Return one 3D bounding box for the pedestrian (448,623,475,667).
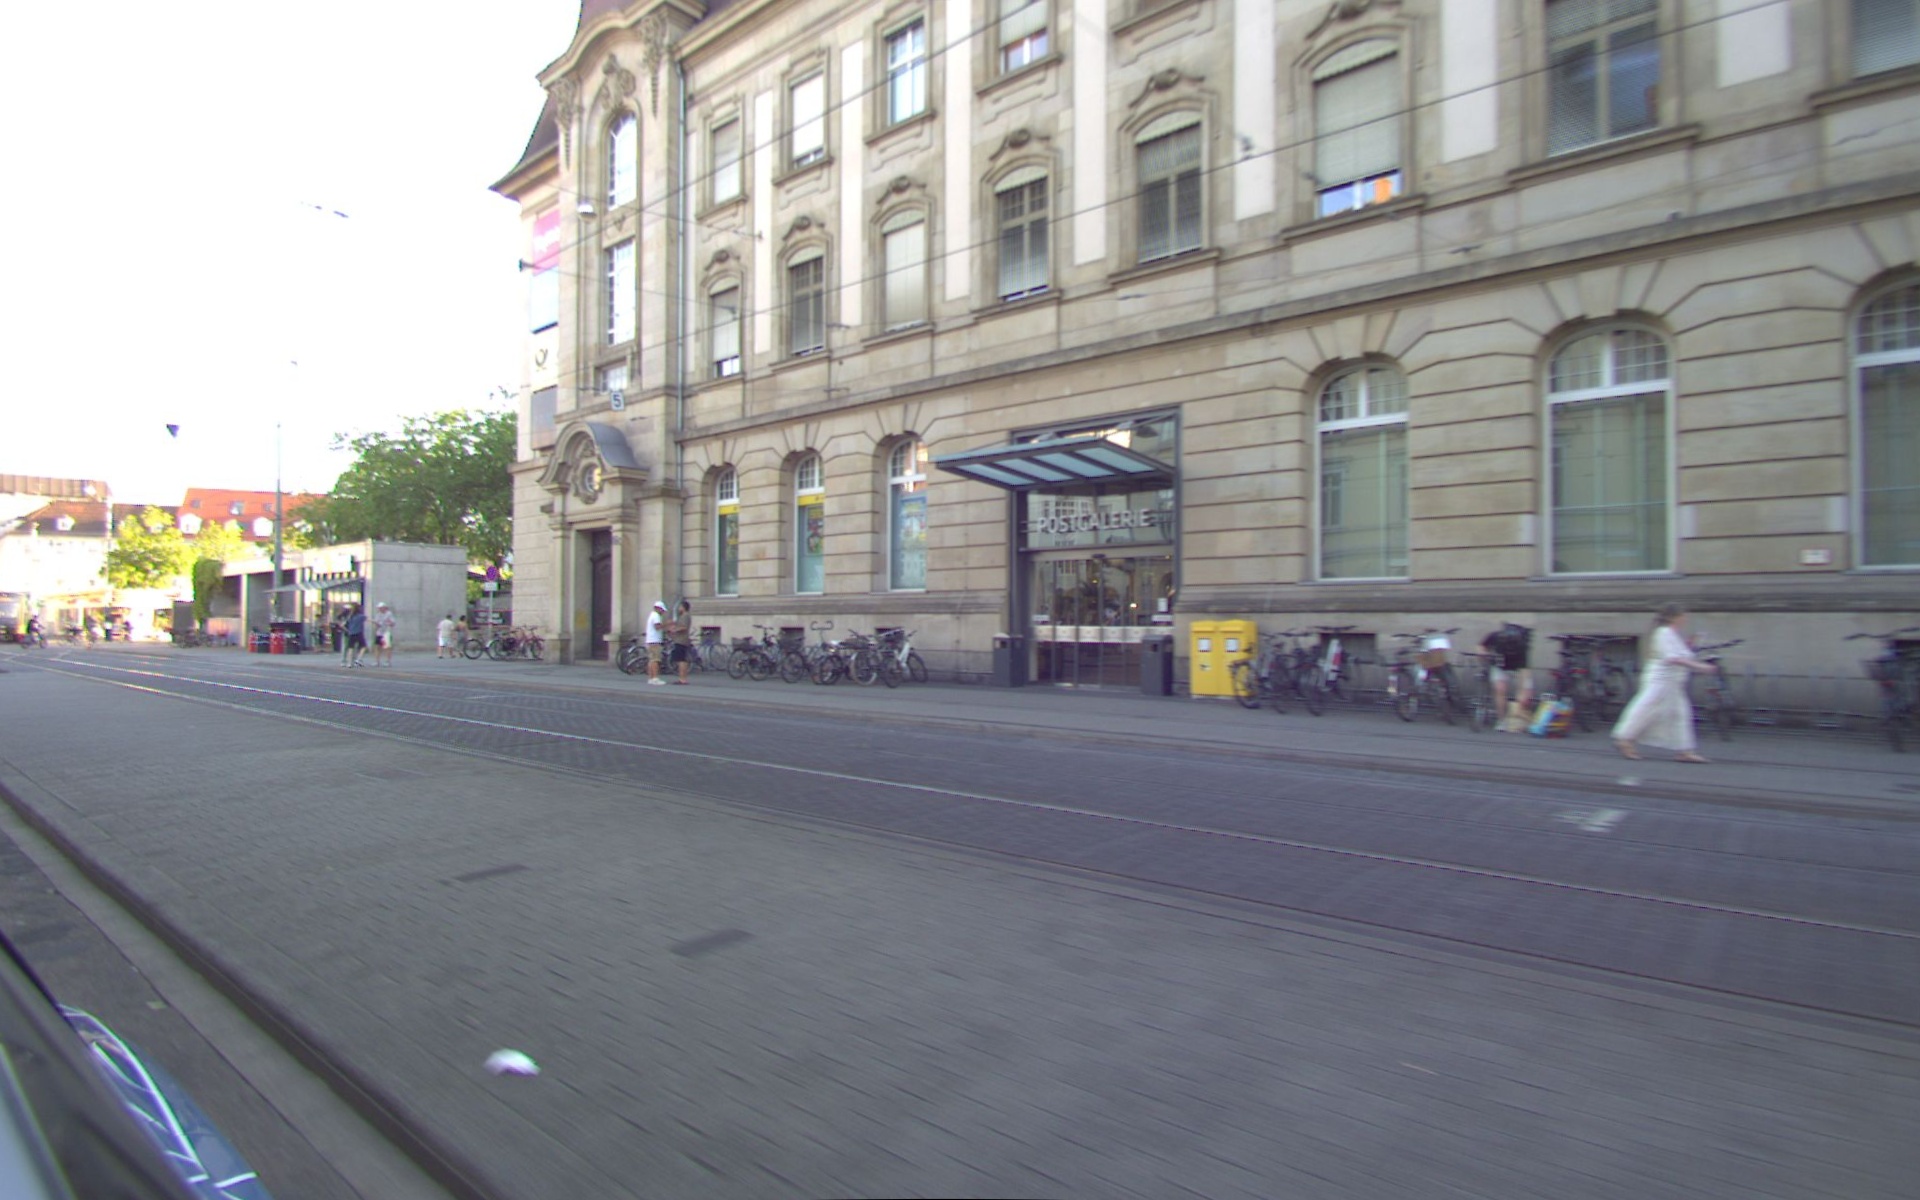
[{"bbox_3d":[-18.116,1.640,36.805,0.679,1.573,0.653,-1,-2,37],"label":"pedestrian"}]

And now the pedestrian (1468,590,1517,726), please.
[{"bbox_3d":[6.594,0.708,12.532,0.360,1.646,0.430,0,0,-43],"label":"pedestrian"}]

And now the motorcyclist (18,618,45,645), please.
[{"bbox_3d":[-50.843,1.743,55.417,0.787,1.450,0.802,-1,0,-10],"label":"motorcyclist"}]

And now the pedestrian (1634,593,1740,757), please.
[{"bbox_3d":[6.859,0.686,9.556,0.682,1.477,0.558,0,-1,-30],"label":"pedestrian"}]

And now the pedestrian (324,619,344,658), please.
[{"bbox_3d":[-27.319,1.674,44.186,0.551,1.665,0.556,-1,0,35],"label":"pedestrian"}]

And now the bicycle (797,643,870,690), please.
[{"bbox_3d":[-2.620,1.367,21.113,1.557,0.880,0.451,0,0,-45],"label":"bicycle"}]

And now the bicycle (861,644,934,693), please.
[{"bbox_3d":[-1.234,1.350,20.228,1.557,0.880,0.451,0,0,-45],"label":"bicycle"}]

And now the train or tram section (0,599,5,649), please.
[{"bbox_3d":[-76.882,1.937,78.503,11.975,3.714,2.865,-2,-2,41],"label":"train or tram section"}]

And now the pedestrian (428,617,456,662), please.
[{"bbox_3d":[-18.553,1.403,36.251,0.679,1.573,0.653,-1,-2,37],"label":"pedestrian"}]

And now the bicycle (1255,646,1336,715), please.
[{"bbox_3d":[4.898,1.148,14.722,1.557,0.880,0.451,0,0,-45],"label":"bicycle"}]

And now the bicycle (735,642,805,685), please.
[{"bbox_3d":[-4.263,1.414,22.803,1.557,0.880,0.451,0,0,-45],"label":"bicycle"}]

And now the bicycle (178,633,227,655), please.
[{"bbox_3d":[-42.125,2.426,56.309,0.692,1.168,2.103,-2,-2,42],"label":"bicycle"}]

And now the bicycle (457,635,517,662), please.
[{"bbox_3d":[-16.535,1.685,35.383,0.634,0.875,1.817,-1,0,39],"label":"bicycle"}]

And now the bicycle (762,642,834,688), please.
[{"bbox_3d":[-3.450,1.378,21.670,1.557,0.880,0.451,0,0,-45],"label":"bicycle"}]

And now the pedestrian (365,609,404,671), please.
[{"bbox_3d":[-16.489,1.138,28.998,0.677,1.750,0.670,-1,-3,28],"label":"pedestrian"}]

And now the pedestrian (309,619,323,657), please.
[{"bbox_3d":[-28.690,1.691,45.070,0.400,1.665,0.389,-1,0,35],"label":"pedestrian"}]

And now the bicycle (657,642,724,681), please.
[{"bbox_3d":[-6.565,1.486,24.691,1.557,0.880,0.451,0,0,-45],"label":"bicycle"}]

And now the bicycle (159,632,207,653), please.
[{"bbox_3d":[-44.779,2.460,58.367,0.692,1.168,2.103,-2,-2,42],"label":"bicycle"}]

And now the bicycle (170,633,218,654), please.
[{"bbox_3d":[-43.381,2.443,57.331,0.692,1.168,2.103,-2,-2,42],"label":"bicycle"}]

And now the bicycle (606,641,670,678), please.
[{"bbox_3d":[-8.350,1.526,26.306,1.557,0.880,0.451,0,0,-45],"label":"bicycle"}]

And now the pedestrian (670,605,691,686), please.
[{"bbox_3d":[-5.917,0.941,21.414,0.370,1.686,0.495,0,0,-23],"label":"pedestrian"}]

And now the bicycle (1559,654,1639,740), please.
[{"bbox_3d":[7.593,1.122,12.002,1.557,0.880,0.451,0,0,-45],"label":"bicycle"}]

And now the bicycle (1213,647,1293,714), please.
[{"bbox_3d":[4.391,1.174,15.123,1.557,0.880,0.451,0,0,-45],"label":"bicycle"}]

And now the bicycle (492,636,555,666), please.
[{"bbox_3d":[-14.455,1.678,33.541,0.634,0.875,1.817,-1,0,39],"label":"bicycle"}]

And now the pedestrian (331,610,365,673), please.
[{"bbox_3d":[-17.118,1.153,28.326,0.676,1.750,0.478,-1,-3,25],"label":"pedestrian"}]

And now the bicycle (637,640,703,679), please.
[{"bbox_3d":[-7.248,1.475,25.351,1.557,0.880,0.451,0,0,-45],"label":"bicycle"}]

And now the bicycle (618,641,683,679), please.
[{"bbox_3d":[-7.923,1.521,25.976,1.557,0.880,0.451,0,0,-45],"label":"bicycle"}]

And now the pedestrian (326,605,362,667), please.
[{"bbox_3d":[-17.666,1.040,29.046,0.593,1.750,0.643,-1,-3,32],"label":"pedestrian"}]

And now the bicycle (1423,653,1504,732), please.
[{"bbox_3d":[6.490,1.167,13.019,1.557,0.880,0.451,0,0,-45],"label":"bicycle"}]

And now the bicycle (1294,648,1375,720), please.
[{"bbox_3d":[5.298,1.162,14.290,1.557,0.880,0.451,0,0,-45],"label":"bicycle"}]

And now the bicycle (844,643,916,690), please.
[{"bbox_3d":[-1.642,1.356,20.857,1.557,0.880,0.451,0,0,-45],"label":"bicycle"}]

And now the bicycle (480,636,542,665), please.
[{"bbox_3d":[-15.044,1.685,33.965,0.634,0.875,1.817,-1,0,39],"label":"bicycle"}]

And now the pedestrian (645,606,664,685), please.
[{"bbox_3d":[-6.460,0.947,21.401,0.370,1.643,0.495,0,0,-18],"label":"pedestrian"}]

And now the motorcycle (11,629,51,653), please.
[{"bbox_3d":[-50.810,2.245,55.364,0.793,1.247,1.783,-1,0,-10],"label":"motorcycle"}]

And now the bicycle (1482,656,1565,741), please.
[{"bbox_3d":[6.843,1.162,12.259,1.557,0.880,0.451,0,0,-45],"label":"bicycle"}]

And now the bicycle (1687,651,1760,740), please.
[{"bbox_3d":[8.784,1.071,11.626,1.557,0.880,0.451,0,0,-45],"label":"bicycle"}]

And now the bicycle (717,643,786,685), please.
[{"bbox_3d":[-4.801,1.464,23.345,1.557,0.880,0.451,0,0,-45],"label":"bicycle"}]

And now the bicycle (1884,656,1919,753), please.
[{"bbox_3d":[10.034,1.073,10.590,1.557,0.880,0.451,0,0,-45],"label":"bicycle"}]

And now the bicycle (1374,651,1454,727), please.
[{"bbox_3d":[6.080,1.162,13.518,1.557,0.880,0.451,0,0,-45],"label":"bicycle"}]

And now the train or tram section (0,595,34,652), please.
[{"bbox_3d":[-67.182,1.661,70.149,13.472,3.714,2.865,-2,-2,41],"label":"train or tram section"}]
